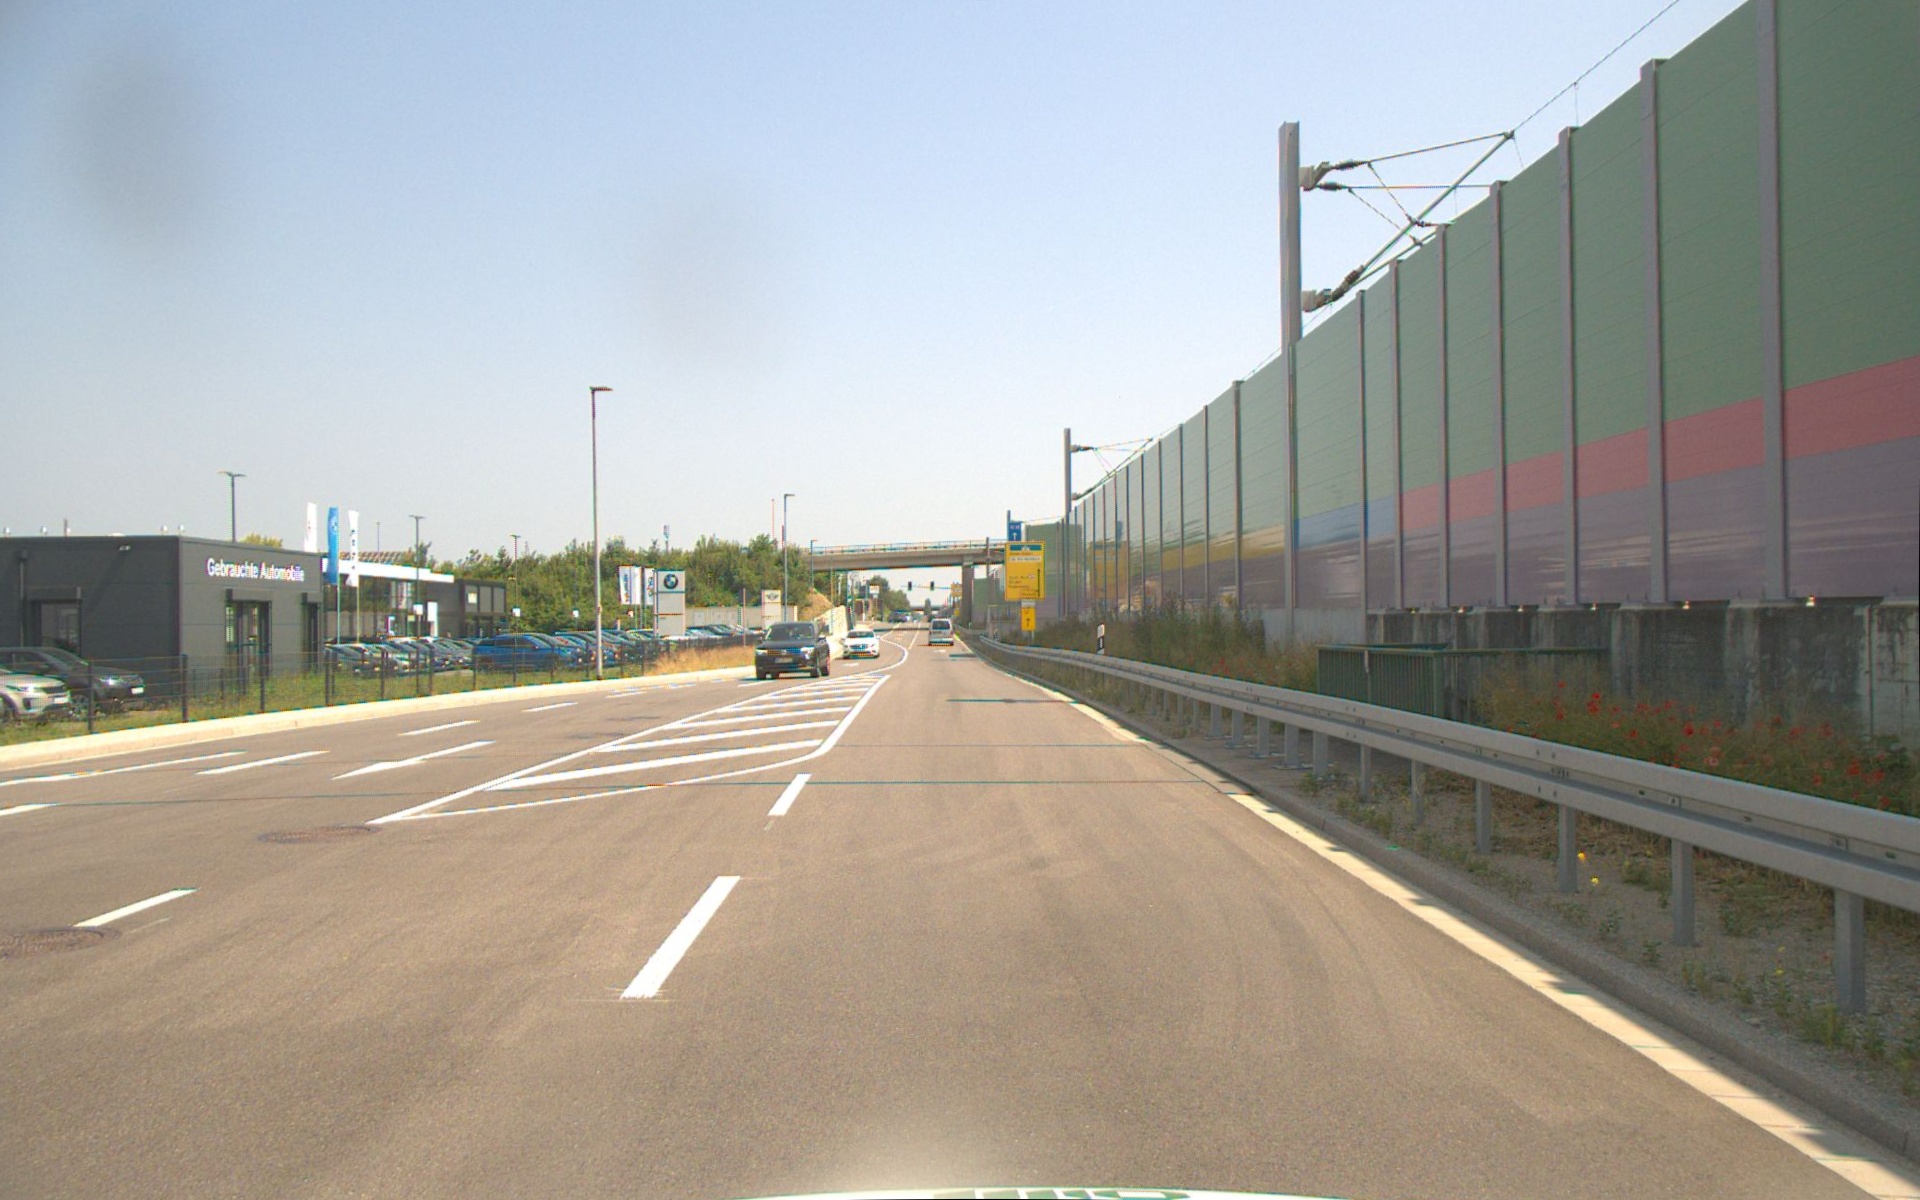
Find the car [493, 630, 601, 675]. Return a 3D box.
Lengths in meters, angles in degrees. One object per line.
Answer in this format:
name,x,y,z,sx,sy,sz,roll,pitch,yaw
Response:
car,-16.660,2.095,66.787,3.907,1.664,1.814,-2,0,-3

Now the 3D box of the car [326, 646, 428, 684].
car,-26.023,2.876,73.953,3.907,1.521,1.814,-2,0,-3

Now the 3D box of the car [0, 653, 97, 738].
car,-20.631,2.026,34.759,3.906,1.660,1.967,-2,0,-1

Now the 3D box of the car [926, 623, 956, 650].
car,-1.272,2.463,112.935,1.952,1.788,4.000,-1,0,0

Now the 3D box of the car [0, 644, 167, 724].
car,-20.664,1.926,37.894,4.066,1.660,1.821,-2,0,-4

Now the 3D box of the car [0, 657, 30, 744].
car,-20.563,2.019,32.063,3.907,1.660,1.976,-2,0,-3

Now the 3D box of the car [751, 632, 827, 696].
car,-4.989,1.851,48.749,1.839,1.702,4.289,-1,0,-1

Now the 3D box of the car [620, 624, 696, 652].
car,-17.763,2.246,97.429,4.079,1.492,1.815,-2,0,-1

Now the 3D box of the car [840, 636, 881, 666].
car,-4.978,2.540,83.234,1.744,1.440,4.050,-1,-1,0

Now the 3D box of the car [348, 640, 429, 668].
car,-33.387,3.160,96.724,4.079,1.492,1.815,-2,0,-1

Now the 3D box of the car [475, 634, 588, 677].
car,-16.623,2.151,64.286,3.907,1.506,1.910,-2,0,-3
